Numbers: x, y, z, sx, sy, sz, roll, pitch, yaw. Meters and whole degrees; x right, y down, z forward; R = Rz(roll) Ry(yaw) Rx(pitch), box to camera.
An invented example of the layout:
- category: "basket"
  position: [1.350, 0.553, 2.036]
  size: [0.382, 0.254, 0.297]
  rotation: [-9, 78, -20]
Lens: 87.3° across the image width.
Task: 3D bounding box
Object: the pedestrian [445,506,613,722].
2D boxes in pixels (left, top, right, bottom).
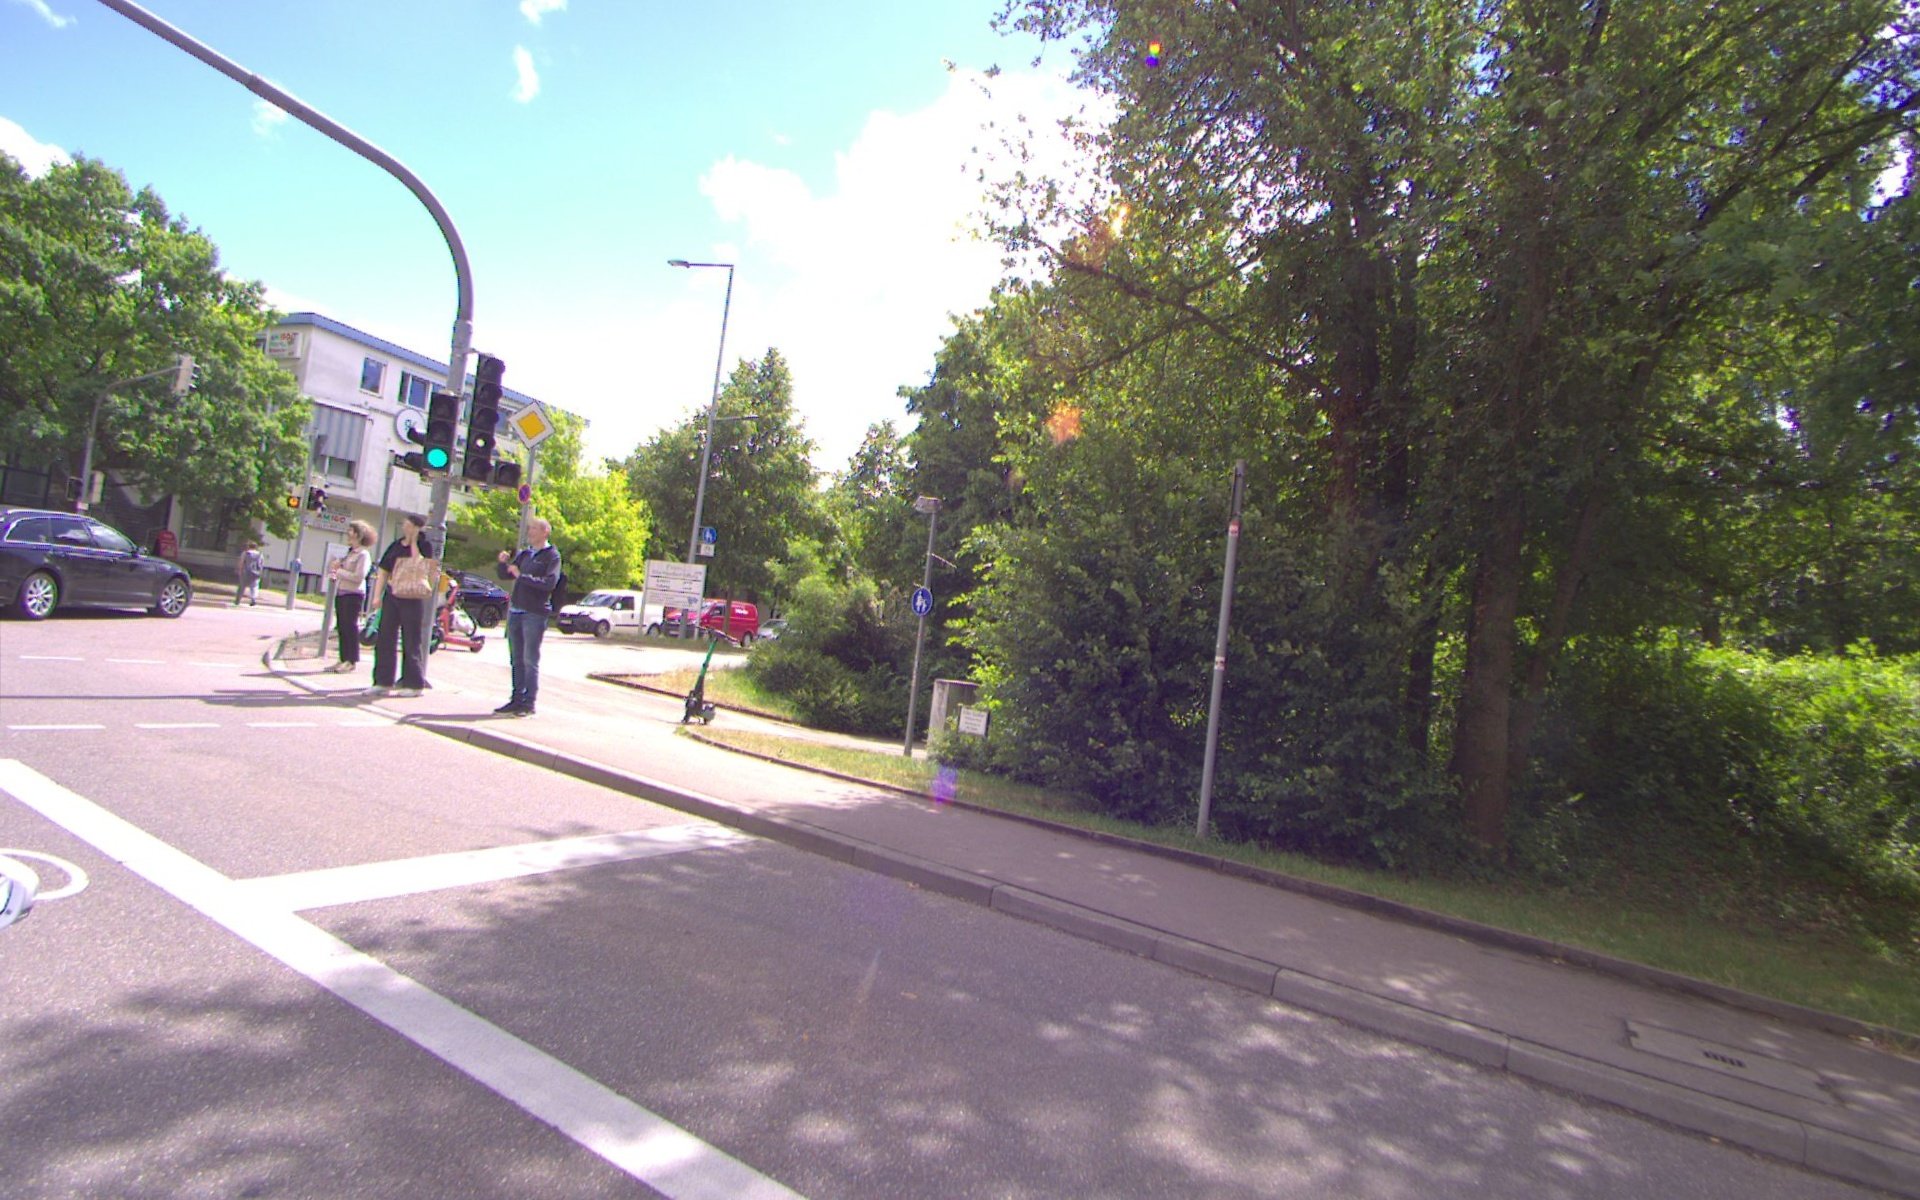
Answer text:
- category: "pedestrian"
  position: [-4.255, 0.159, 9.979]
  size: [0.881, 1.964, 0.968]
  rotation: [7, -1, 28]

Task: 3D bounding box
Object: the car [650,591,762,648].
- category: "car"
  position: [-10.593, 0.885, 42.381]
  size: [1.964, 1.885, 4.822]
  rotation: [5, -3, 23]

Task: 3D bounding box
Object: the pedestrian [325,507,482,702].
- category: "pedestrian"
  position: [-5.552, 0.062, 10.086]
  size: [0.758, 1.787, 0.936]
  rotation: [7, 0, 20]

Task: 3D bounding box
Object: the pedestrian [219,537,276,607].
- category: "pedestrian"
  position: [-18.781, -0.736, 26.518]
  size: [0.892, 1.662, 0.770]
  rotation: [7, -2, 32]

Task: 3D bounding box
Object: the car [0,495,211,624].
- category: "car"
  position: [-13.044, -0.581, 14.149]
  size: [1.966, 1.571, 4.518]
  rotation: [7, -2, -8]

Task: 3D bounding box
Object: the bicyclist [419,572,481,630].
- category: "bicyclist"
  position: [-10.311, 0.035, 20.348]
  size: [0.625, 1.034, 0.794]
  rotation: [7, -2, 28]

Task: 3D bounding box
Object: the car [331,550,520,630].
- category: "car"
  position: [-15.789, -0.232, 30.026]
  size: [1.964, 1.737, 4.574]
  rotation: [7, -2, 25]

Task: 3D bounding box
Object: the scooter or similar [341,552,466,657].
- category: "scooter or similar"
  position: [-7.873, 0.084, 14.278]
  size: [0.455, 1.292, 1.344]
  rotation: [8, -1, 38]

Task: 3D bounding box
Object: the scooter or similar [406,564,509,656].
- category: "scooter or similar"
  position: [-7.924, 0.180, 15.911]
  size: [0.547, 1.254, 1.231]
  rotation: [8, -3, 23]

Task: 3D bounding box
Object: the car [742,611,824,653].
- category: "car"
  position: [-9.503, 1.755, 54.456]
  size: [1.964, 1.737, 4.575]
  rotation: [7, -2, 24]

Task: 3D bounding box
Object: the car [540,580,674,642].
- category: "car"
  position: [-12.932, 0.466, 37.223]
  size: [1.963, 1.737, 4.576]
  rotation: [7, -2, 23]

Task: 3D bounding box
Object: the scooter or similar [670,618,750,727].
- category: "scooter or similar"
  position: [-3.337, 0.995, 13.524]
  size: [0.706, 1.287, 1.243]
  rotation: [10, -7, -7]

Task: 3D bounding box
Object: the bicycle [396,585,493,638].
- category: "bicycle"
  position: [-10.471, 0.235, 20.417]
  size: [1.776, 0.828, 0.794]
  rotation: [7, -2, 28]

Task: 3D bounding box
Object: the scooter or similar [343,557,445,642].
- category: "scooter or similar"
  position: [-8.933, 0.016, 15.943]
  size: [0.533, 1.168, 1.362]
  rotation: [9, -3, 7]

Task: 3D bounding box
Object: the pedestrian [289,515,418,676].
- category: "pedestrian"
  position: [-6.936, -0.049, 11.512]
  size: [0.950, 1.694, 0.860]
  rotation: [7, 0, -43]
